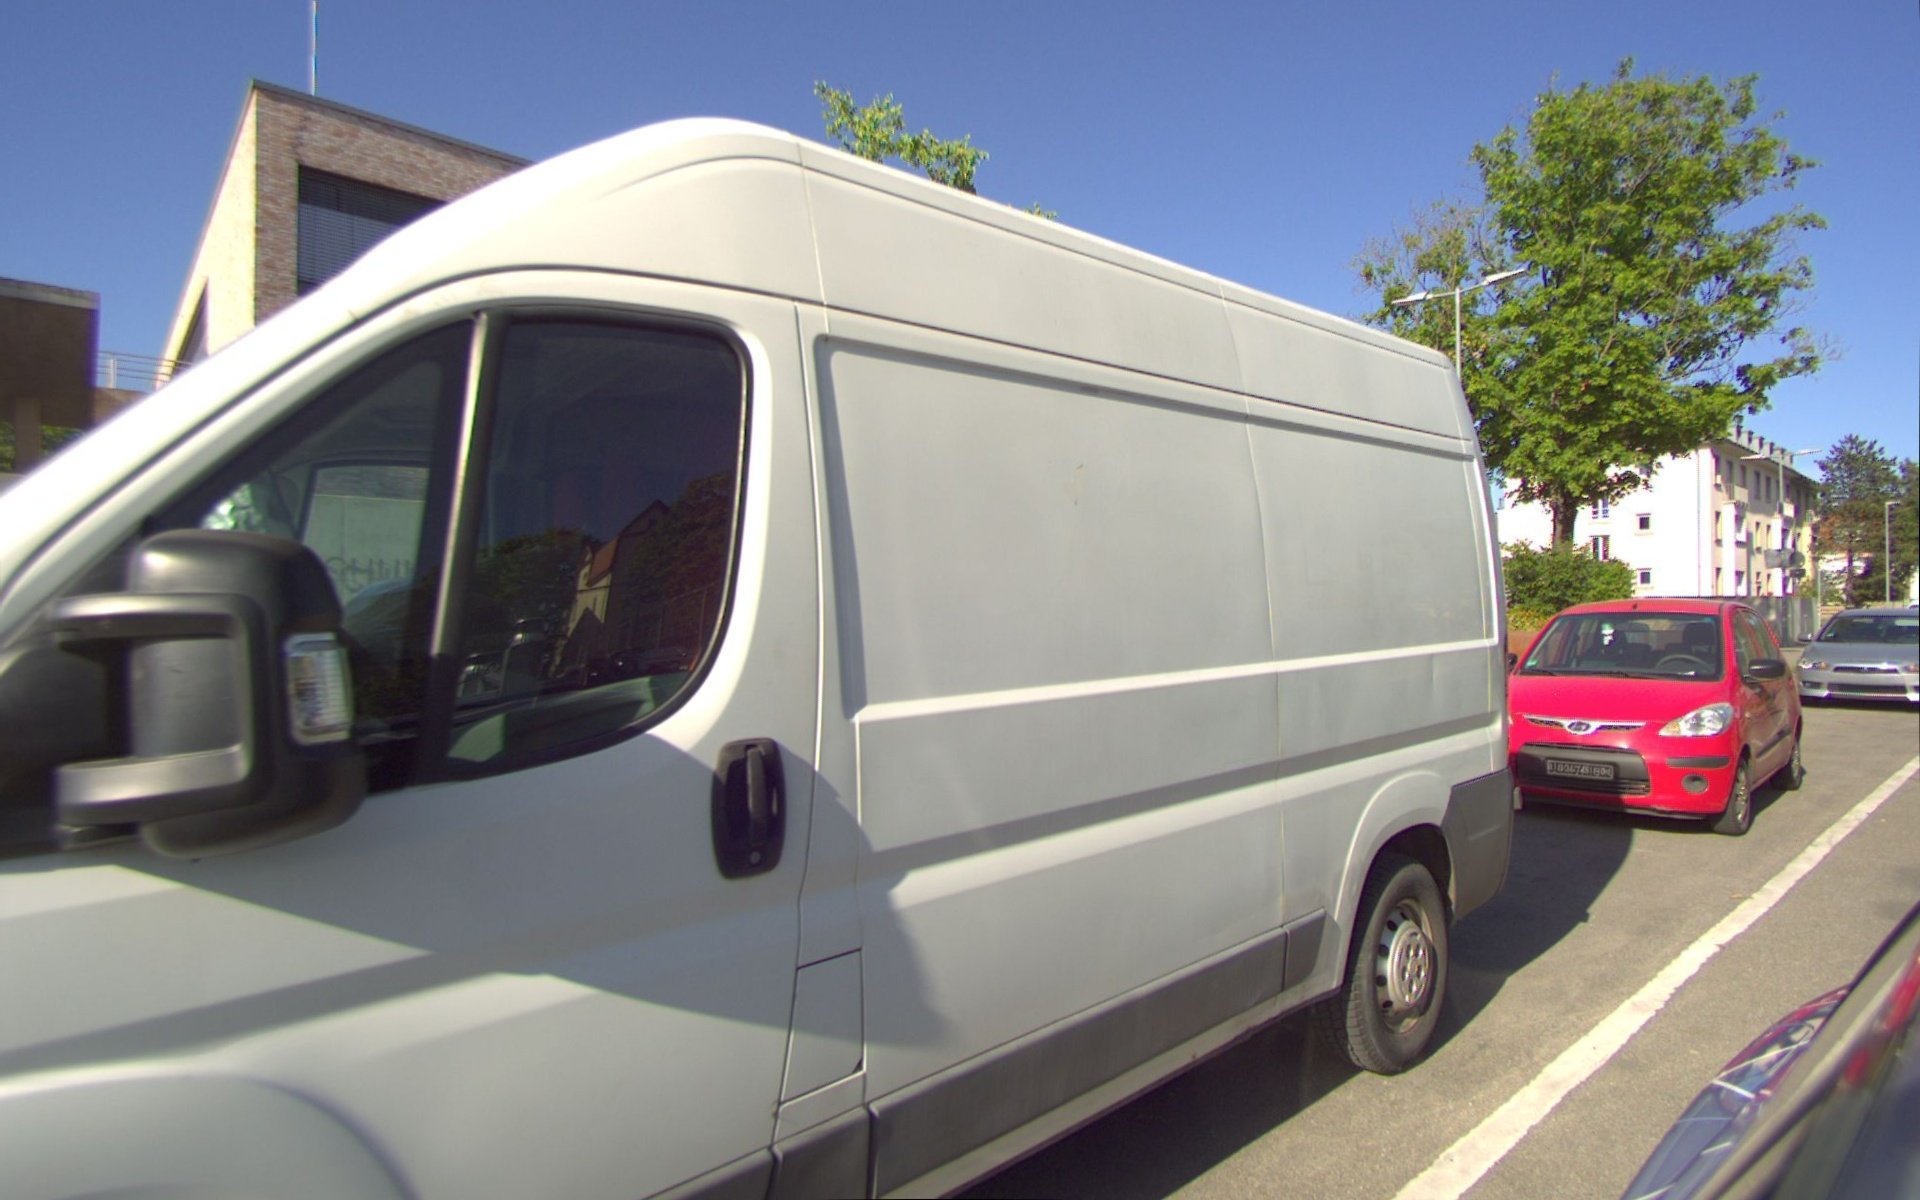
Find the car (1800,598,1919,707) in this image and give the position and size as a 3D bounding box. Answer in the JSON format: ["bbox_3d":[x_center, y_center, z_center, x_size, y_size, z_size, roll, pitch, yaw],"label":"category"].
[{"bbox_3d":[14.558,0.733,15.673,4.100,1.497,1.704,0,-2,-41],"label":"car"}]

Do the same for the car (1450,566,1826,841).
[{"bbox_3d":[5.299,0.628,7.746,3.531,1.609,1.621,0,-2,-43],"label":"car"}]

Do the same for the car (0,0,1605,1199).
[{"bbox_3d":[-0.395,0.170,2.853,5.337,2.608,2.244,0,-2,-41],"label":"car"}]

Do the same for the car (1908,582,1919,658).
[{"bbox_3d":[26.551,0.503,26.754,4.385,1.933,1.809,0,-2,-43],"label":"car"}]

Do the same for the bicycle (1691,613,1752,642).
[{"bbox_3d":[27.962,1.017,37.174,0.492,1.043,1.670,1,-3,-42],"label":"bicycle"}]

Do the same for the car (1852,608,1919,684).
[{"bbox_3d":[18.795,0.837,19.652,4.058,1.342,1.703,0,-2,-42],"label":"car"}]
